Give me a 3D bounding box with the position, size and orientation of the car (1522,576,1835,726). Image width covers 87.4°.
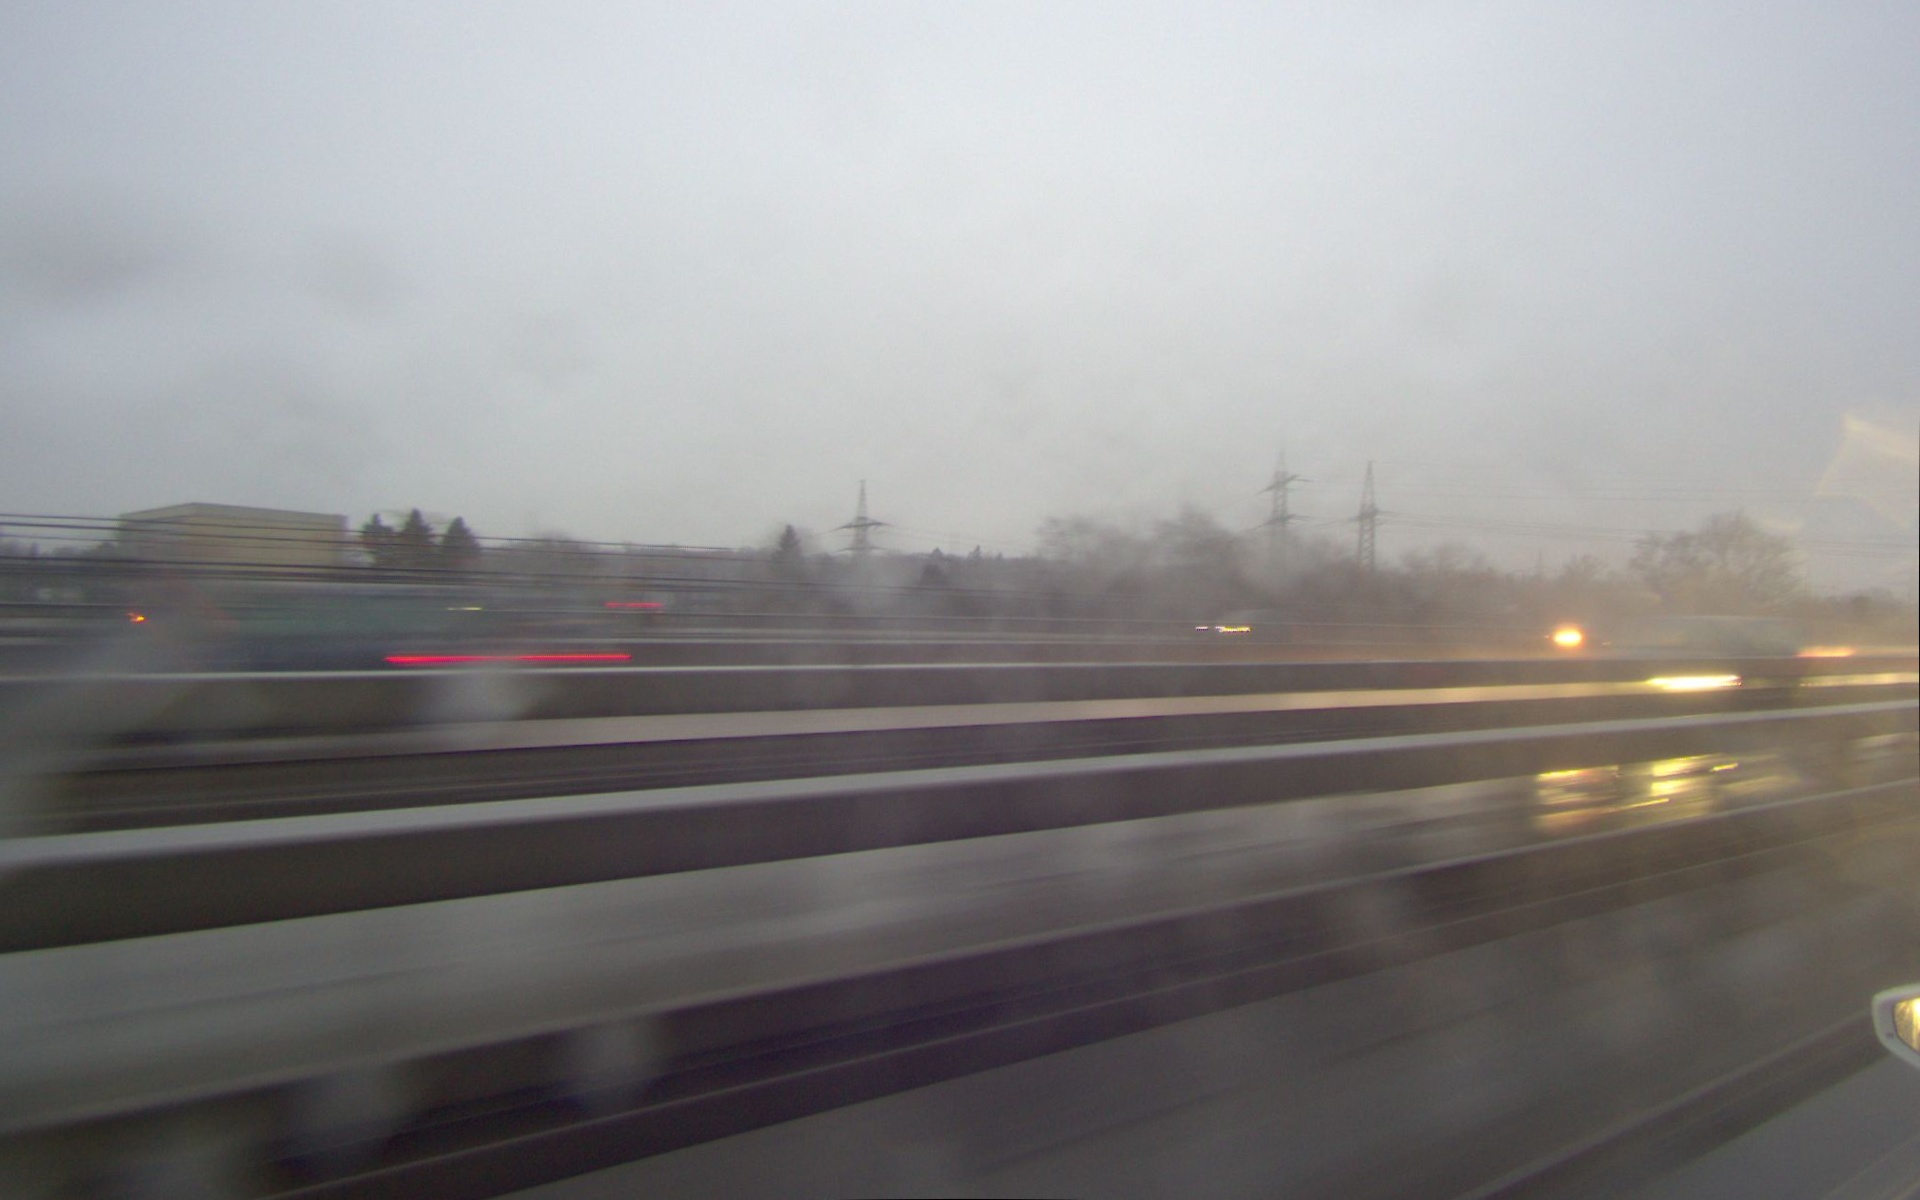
[{"bbox_3d":[9.747,0.627,13.596,3.952,1.751,1.984,1,0,-30],"label":"car"}]

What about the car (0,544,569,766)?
[{"bbox_3d":[-5.714,0.406,8.647,4.148,1.544,1.960,1,0,-29],"label":"car"}]

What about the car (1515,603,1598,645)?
[{"bbox_3d":[30.601,1.238,51.552,3.954,2.040,1.983,2,0,-31],"label":"car"}]

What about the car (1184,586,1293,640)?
[{"bbox_3d":[11.043,0.506,39.817,3.953,2.040,1.984,0,0,-31],"label":"car"}]

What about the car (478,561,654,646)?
[{"bbox_3d":[-10.146,0.105,25.912,3.954,2.040,1.984,1,0,-31],"label":"car"}]
